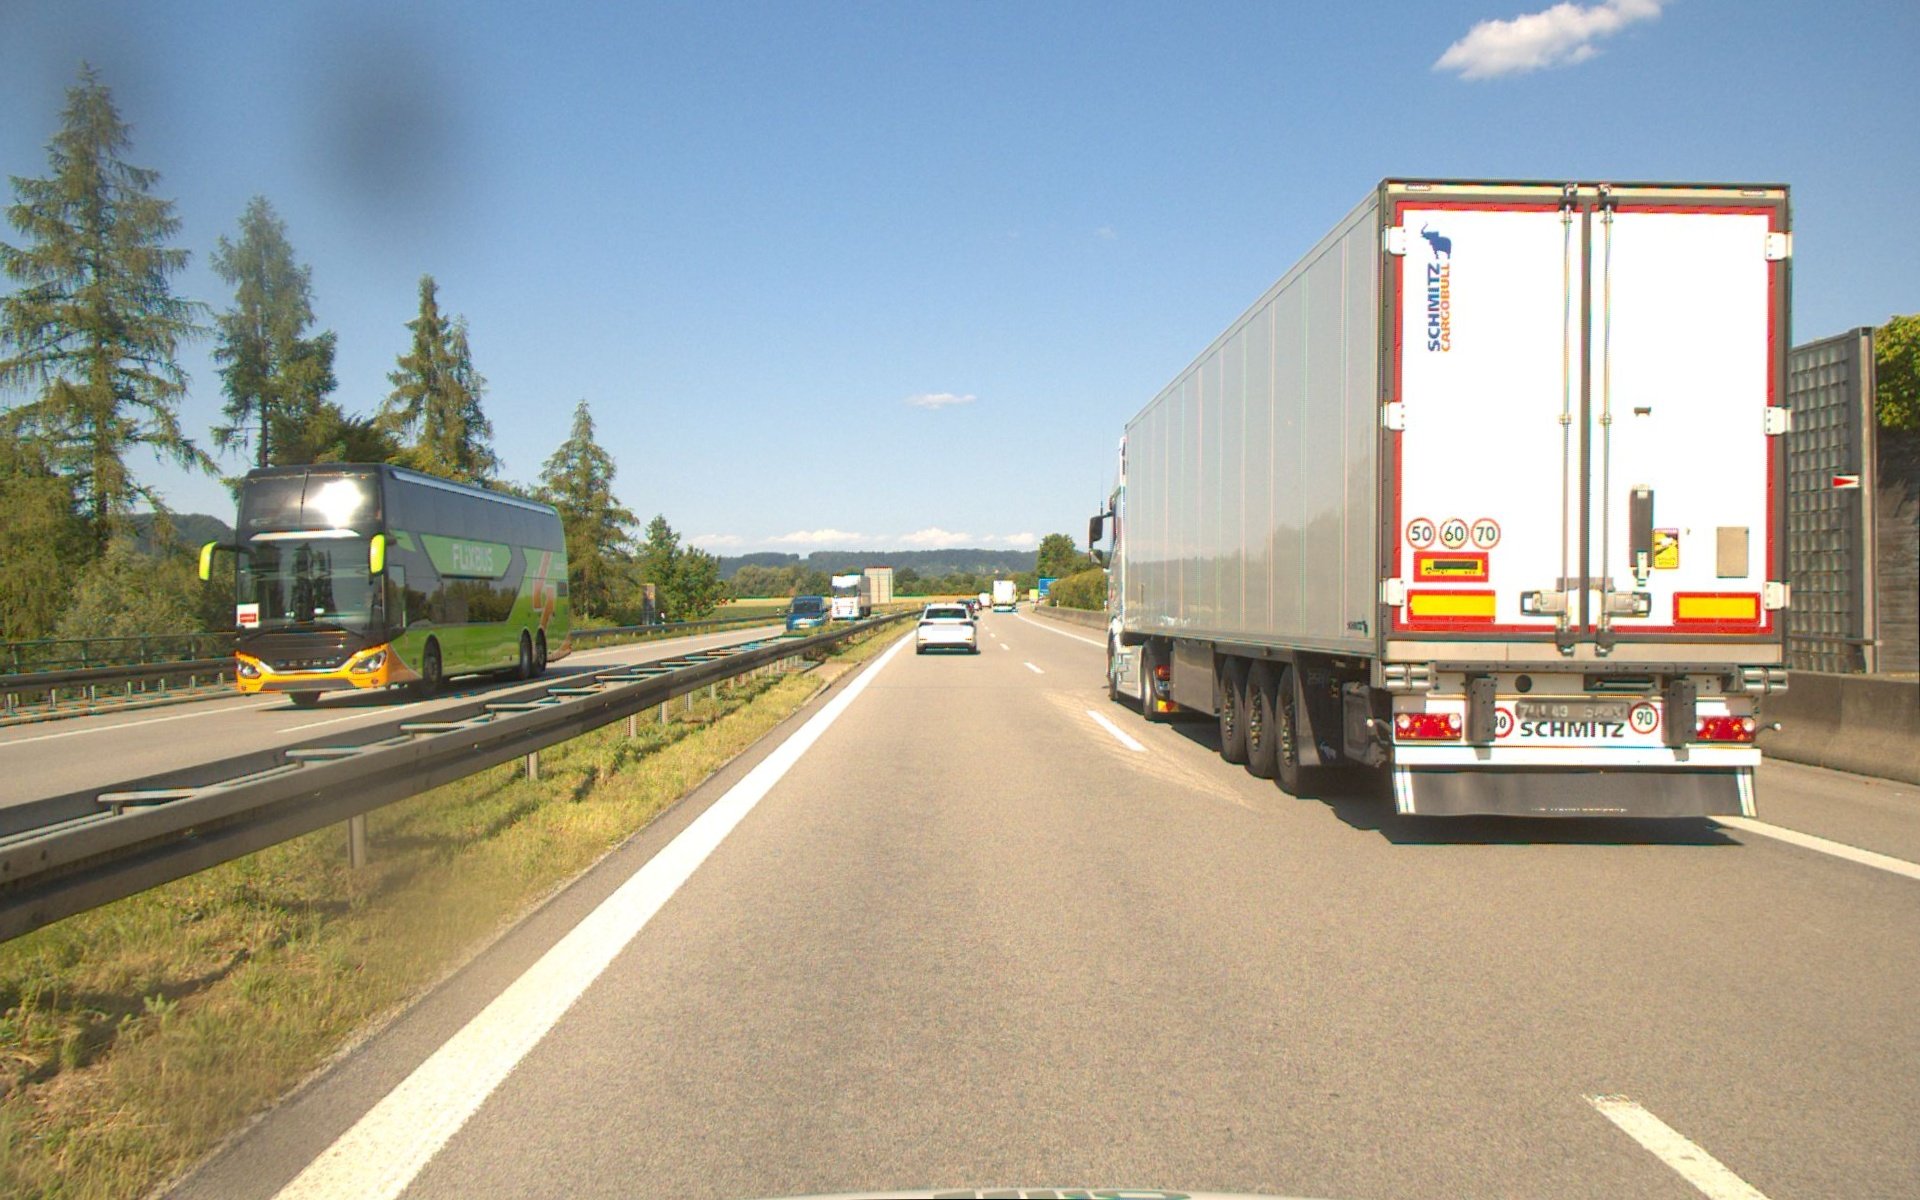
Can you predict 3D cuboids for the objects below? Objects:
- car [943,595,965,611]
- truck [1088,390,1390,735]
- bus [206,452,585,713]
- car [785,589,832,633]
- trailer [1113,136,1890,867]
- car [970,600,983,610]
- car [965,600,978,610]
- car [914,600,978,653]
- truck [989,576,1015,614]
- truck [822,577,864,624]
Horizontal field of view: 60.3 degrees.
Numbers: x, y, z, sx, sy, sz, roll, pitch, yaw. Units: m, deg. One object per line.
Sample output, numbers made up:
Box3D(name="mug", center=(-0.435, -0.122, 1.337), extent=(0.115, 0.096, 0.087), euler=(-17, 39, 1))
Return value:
Box3D(name="car", center=(-0.559, 0.299, 155.689), extent=(1.734, 1.446, 4.497), euler=(0, 0, 3))
Box3D(name="truck", center=(3.604, -0.464, 23.255), extent=(2.783, 4.035, 7.042), euler=(-2, 0, -1))
Box3D(name="bus", center=(-10.802, -0.313, 34.132), extent=(2.877, 4.124, 14.665), euler=(-2, 0, -1))
Box3D(name="car", center=(-7.114, 0.489, 78.018), extent=(1.718, 1.881, 5.011), euler=(-3, 0, 0))
Box3D(name="trailer", center=(3.719, -0.589, 16.407), extent=(2.761, 4.035, 14.157), euler=(-2, 0, -1))
Box3D(name="car", center=(2.382, 0.738, 241.828), extent=(1.734, 1.446, 4.366), euler=(0, 0, 3))
Box3D(name="car", center=(1.606, 0.680, 224.585), extent=(1.735, 1.446, 4.365), euler=(0, 0, 1))
Box3D(name="car", center=(-0.452, 0.751, 49.131), extent=(1.803, 1.446, 5.253), euler=(0, 0, -1))
Box3D(name="truck", center=(5.451, -0.666, 213.336), extent=(3.087, 4.693, 8.907), euler=(-1, 0, 2))
Box3D(name="truck", center=(-10.783, 0.046, 153.070), extent=(3.092, 4.173, 7.735), euler=(-3, 0, 0))
